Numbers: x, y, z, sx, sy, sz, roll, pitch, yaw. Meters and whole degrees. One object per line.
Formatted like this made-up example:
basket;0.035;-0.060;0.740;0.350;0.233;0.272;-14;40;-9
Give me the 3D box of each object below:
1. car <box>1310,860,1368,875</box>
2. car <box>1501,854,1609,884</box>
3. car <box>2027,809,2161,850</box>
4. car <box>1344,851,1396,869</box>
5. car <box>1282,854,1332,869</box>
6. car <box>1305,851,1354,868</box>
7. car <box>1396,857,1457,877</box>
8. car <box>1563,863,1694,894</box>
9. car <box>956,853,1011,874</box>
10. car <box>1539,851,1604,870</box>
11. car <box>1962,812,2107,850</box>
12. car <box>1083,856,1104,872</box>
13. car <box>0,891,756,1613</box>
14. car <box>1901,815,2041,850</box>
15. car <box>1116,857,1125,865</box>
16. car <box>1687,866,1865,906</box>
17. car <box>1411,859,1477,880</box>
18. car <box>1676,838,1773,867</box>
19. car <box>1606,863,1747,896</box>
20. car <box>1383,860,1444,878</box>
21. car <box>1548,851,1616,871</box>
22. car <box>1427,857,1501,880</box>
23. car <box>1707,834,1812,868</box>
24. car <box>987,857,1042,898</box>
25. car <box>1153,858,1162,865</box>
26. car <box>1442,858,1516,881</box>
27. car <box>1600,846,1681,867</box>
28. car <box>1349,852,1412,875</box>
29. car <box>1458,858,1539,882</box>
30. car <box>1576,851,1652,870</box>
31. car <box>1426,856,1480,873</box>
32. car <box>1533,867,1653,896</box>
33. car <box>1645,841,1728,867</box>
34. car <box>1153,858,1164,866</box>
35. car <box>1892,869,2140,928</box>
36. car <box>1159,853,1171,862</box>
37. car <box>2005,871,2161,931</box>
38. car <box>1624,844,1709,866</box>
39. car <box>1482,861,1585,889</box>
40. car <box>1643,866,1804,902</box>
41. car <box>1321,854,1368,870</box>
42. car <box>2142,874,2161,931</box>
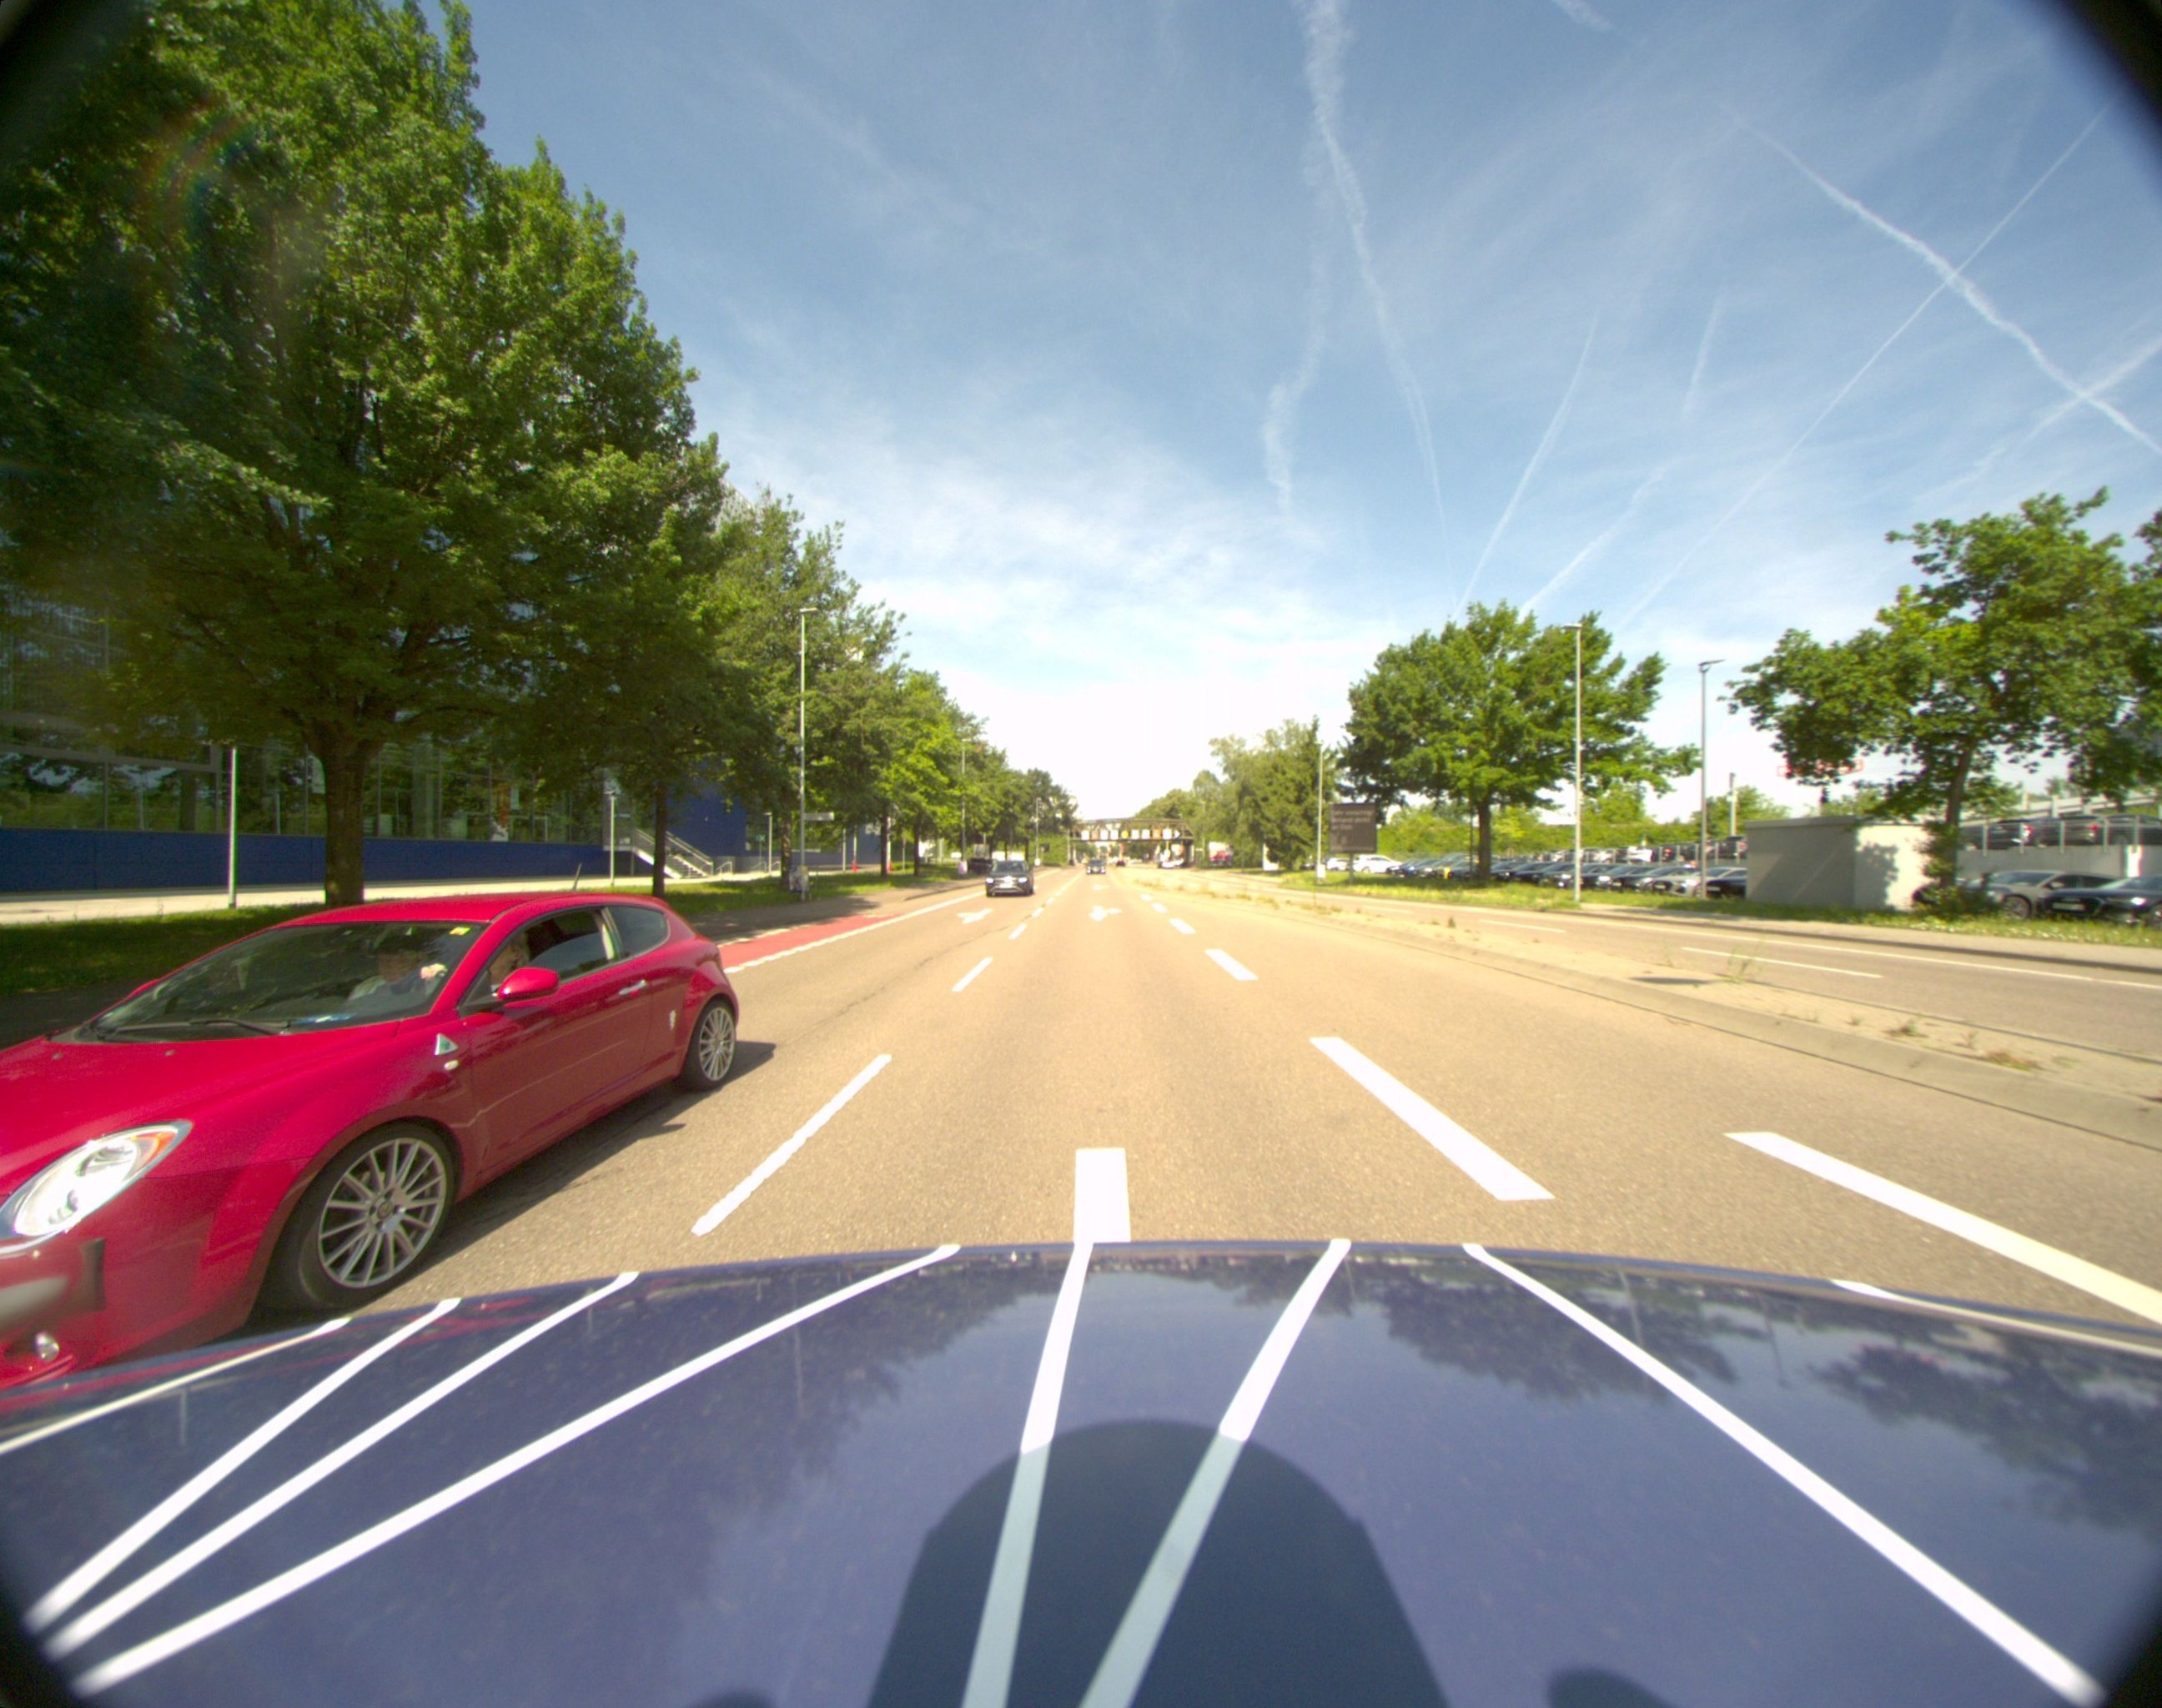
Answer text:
car;24.991;1.291;73.724;4.863;1.261;2.000;-1;0;1
car;24.849;0.762;39.927;4.511;1.467;1.919;0;0;-1
car;40.417;-0.948;29.626;4.530;1.487;1.986;-1;0;1
car;25.923;0.521;68.343;3.995;1.477;1.848;-1;0;5
car;23.494;0.778;79.090;4.698;1.381;2.000;-1;0;1
car;24.865;0.553;76.091;4.224;1.537;2.000;-1;0;1
car;24.917;0.923;54.847;3.603;1.277;1.744;2;0;-1
car;24.498;1.094;34.107;4.511;1.282;1.919;0;0;-1
car;-8.539;0.795;66.660;4.452;1.684;1.845;1;1;8
car;41.138;0.515;63.783;4.213;1.468;2.000;-1;0;-2
car;40.564;-0.948;32.388;3.997;1.487;1.668;-1;0;1
car;1.204;0.975;73.457;1.888;1.427;4.000;-1;0;1
car;-3.389;1.033;3.727;1.798;1.446;3.979;-1;1;1
car;40.963;-0.952;35.043;3.997;1.487;2.052;-1;0;1
car;7.912;1.399;153.055;1.785;1.438;4.120;1;0;1
car;24.373;1.107;26.773;4.511;1.282;1.919;0;0;-1
car;24.990;1.035;52.418;3.752;1.277;1.663;2;0;-1
car;40.947;-0.100;48.395;4.511;1.805;1.979;0;0;-1
car;24.597;1.045;31.486;4.511;1.282;1.691;0;0;-1
car;25.191;1.142;57.647;3.801;1.277;1.744;-1;0;-1
car;40.455;0.540;61.412;4.213;1.468;2.000;-1;0;-2
car;25.089;0.951;49.885;3.897;1.332;1.840;2;0;-1
car;40.682;-0.175;45.648;4.511;1.951;1.979;0;0;-1
car;-2.817;0.965;32.896;1.824;1.632;4.113;-1;0;2
car;15.602;1.594;155.093;1.639;1.379;4.319;1;0;2
car;24.874;0.943;47.528;3.603;1.277;1.865;2;0;-1
car;41.083;0.200;55.825;4.511;1.476;1.979;0;0;-1
car;24.835;0.776;63.085;4.473;1.864;2.000;-1;0;2
car;24.648;0.916;44.954;3.689;1.277;1.985;2;0;-1
car;40.976;0.498;58.466;4.511;1.410;1.891;-1;0;-1
car;35.624;0.972;72.784;4.253;1.555;1.805;-1;0;0
car;24.782;1.304;36.889;4.511;1.282;1.919;0;0;-1
car;40.734;-0.028;51.178;4.279;1.695;1.665;0;0;-1
car;14.717;1.473;145.176;1.702;1.510;4.027;2;0;1
car;23.806;1.101;19.463;3.997;1.149;1.897;4;0;-1
car;14.795;0.600;133.959;1.997;1.608;4.105;2;0;5
car;23.698;1.102;16.882;3.997;1.149;1.897;4;0;-1
car;41.151;0.059;53.485;4.511;1.476;1.979;0;0;-1
car;24.994;1.146;42.074;4.511;1.467;1.979;0;0;-1
car;24.515;1.121;29.118;4.511;1.282;2.004;0;0;-1
car;24.600;0.729;71.011;3.689;1.363;1.816;-1;0;1
car;23.778;1.106;14.476;4.184;1.149;2.087;4;0;-1
